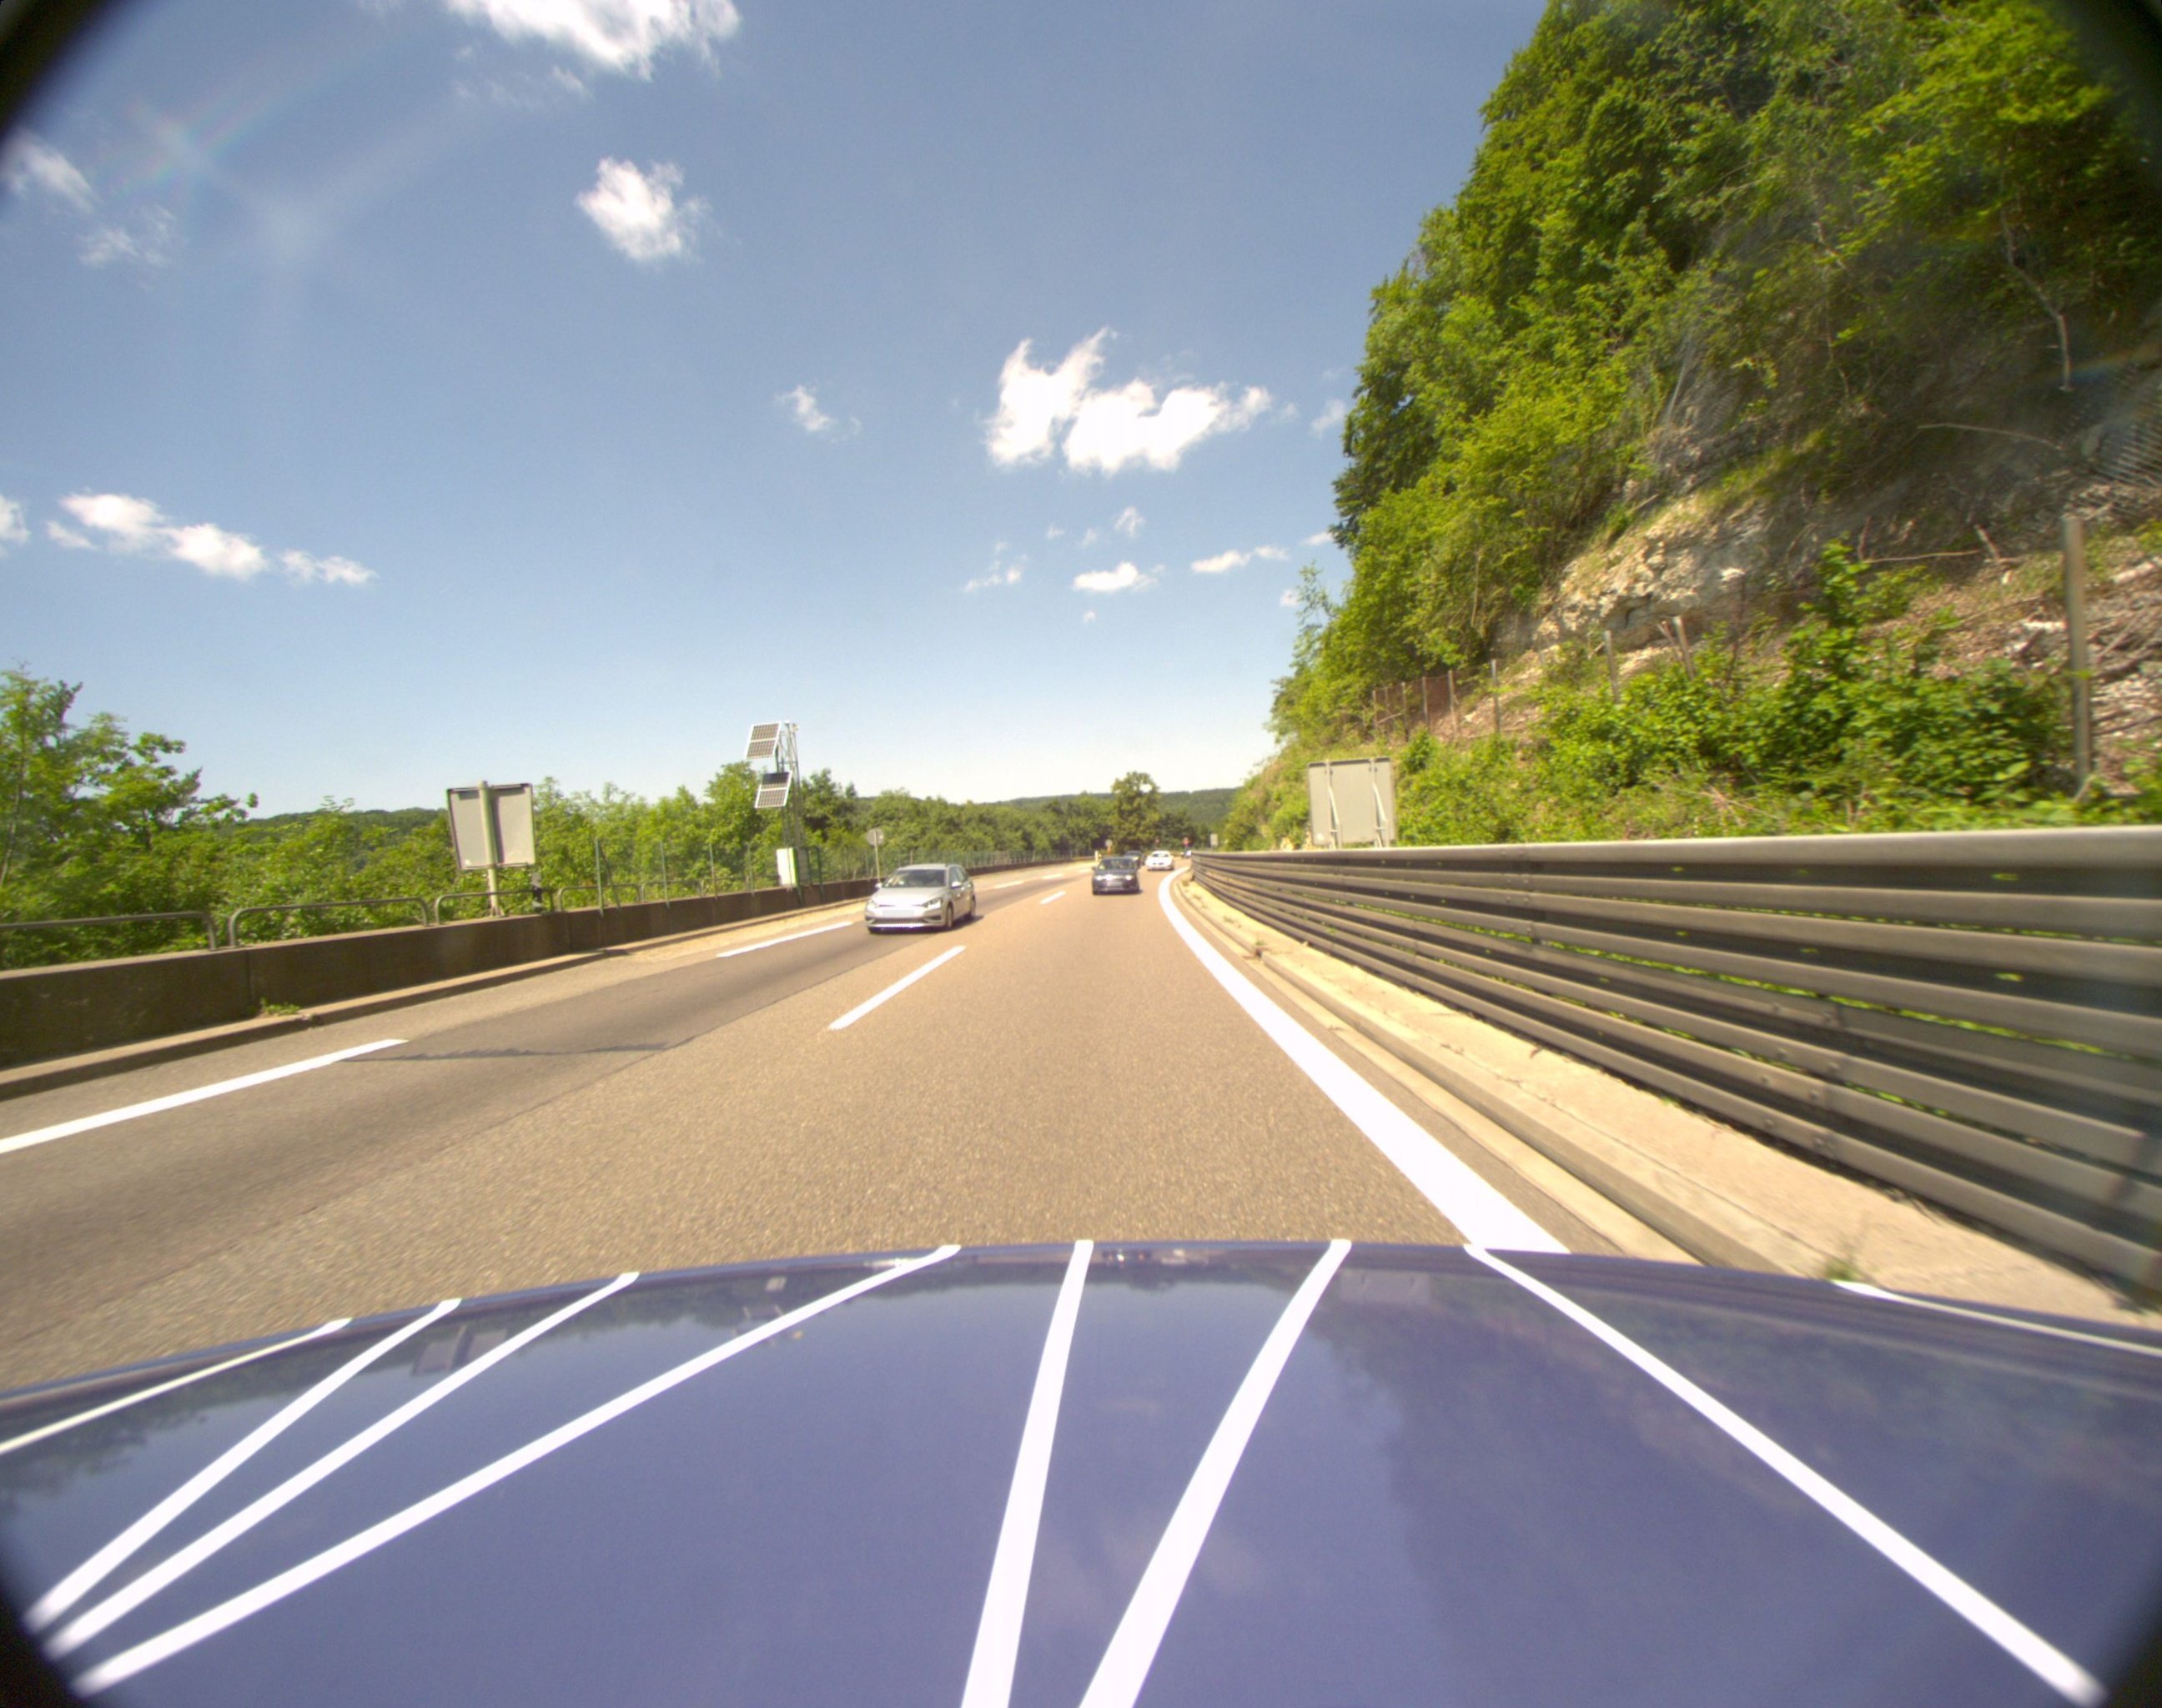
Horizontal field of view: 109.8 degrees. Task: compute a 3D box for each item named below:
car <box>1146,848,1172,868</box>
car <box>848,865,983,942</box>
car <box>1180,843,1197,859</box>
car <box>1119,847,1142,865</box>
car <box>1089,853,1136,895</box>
[{"bbox_3d":[5.954,0.275,58.292,1.703,1.432,4.044,-2,1,3],"label":"car"},{"bbox_3d":[-3.654,1.039,17.605,1.972,1.369,4.294,-2,1,2],"label":"car"},{"bbox_3d":[14.910,-0.407,105.603,1.997,2.002,4.003,-3,0,11],"label":"car"},{"bbox_3d":[4.694,0.136,72.137,1.874,1.565,4.002,-2,0,7],"label":"car"},{"bbox_3d":[1.205,0.737,29.627,1.669,1.415,4.044,-2,1,2],"label":"car"}]
